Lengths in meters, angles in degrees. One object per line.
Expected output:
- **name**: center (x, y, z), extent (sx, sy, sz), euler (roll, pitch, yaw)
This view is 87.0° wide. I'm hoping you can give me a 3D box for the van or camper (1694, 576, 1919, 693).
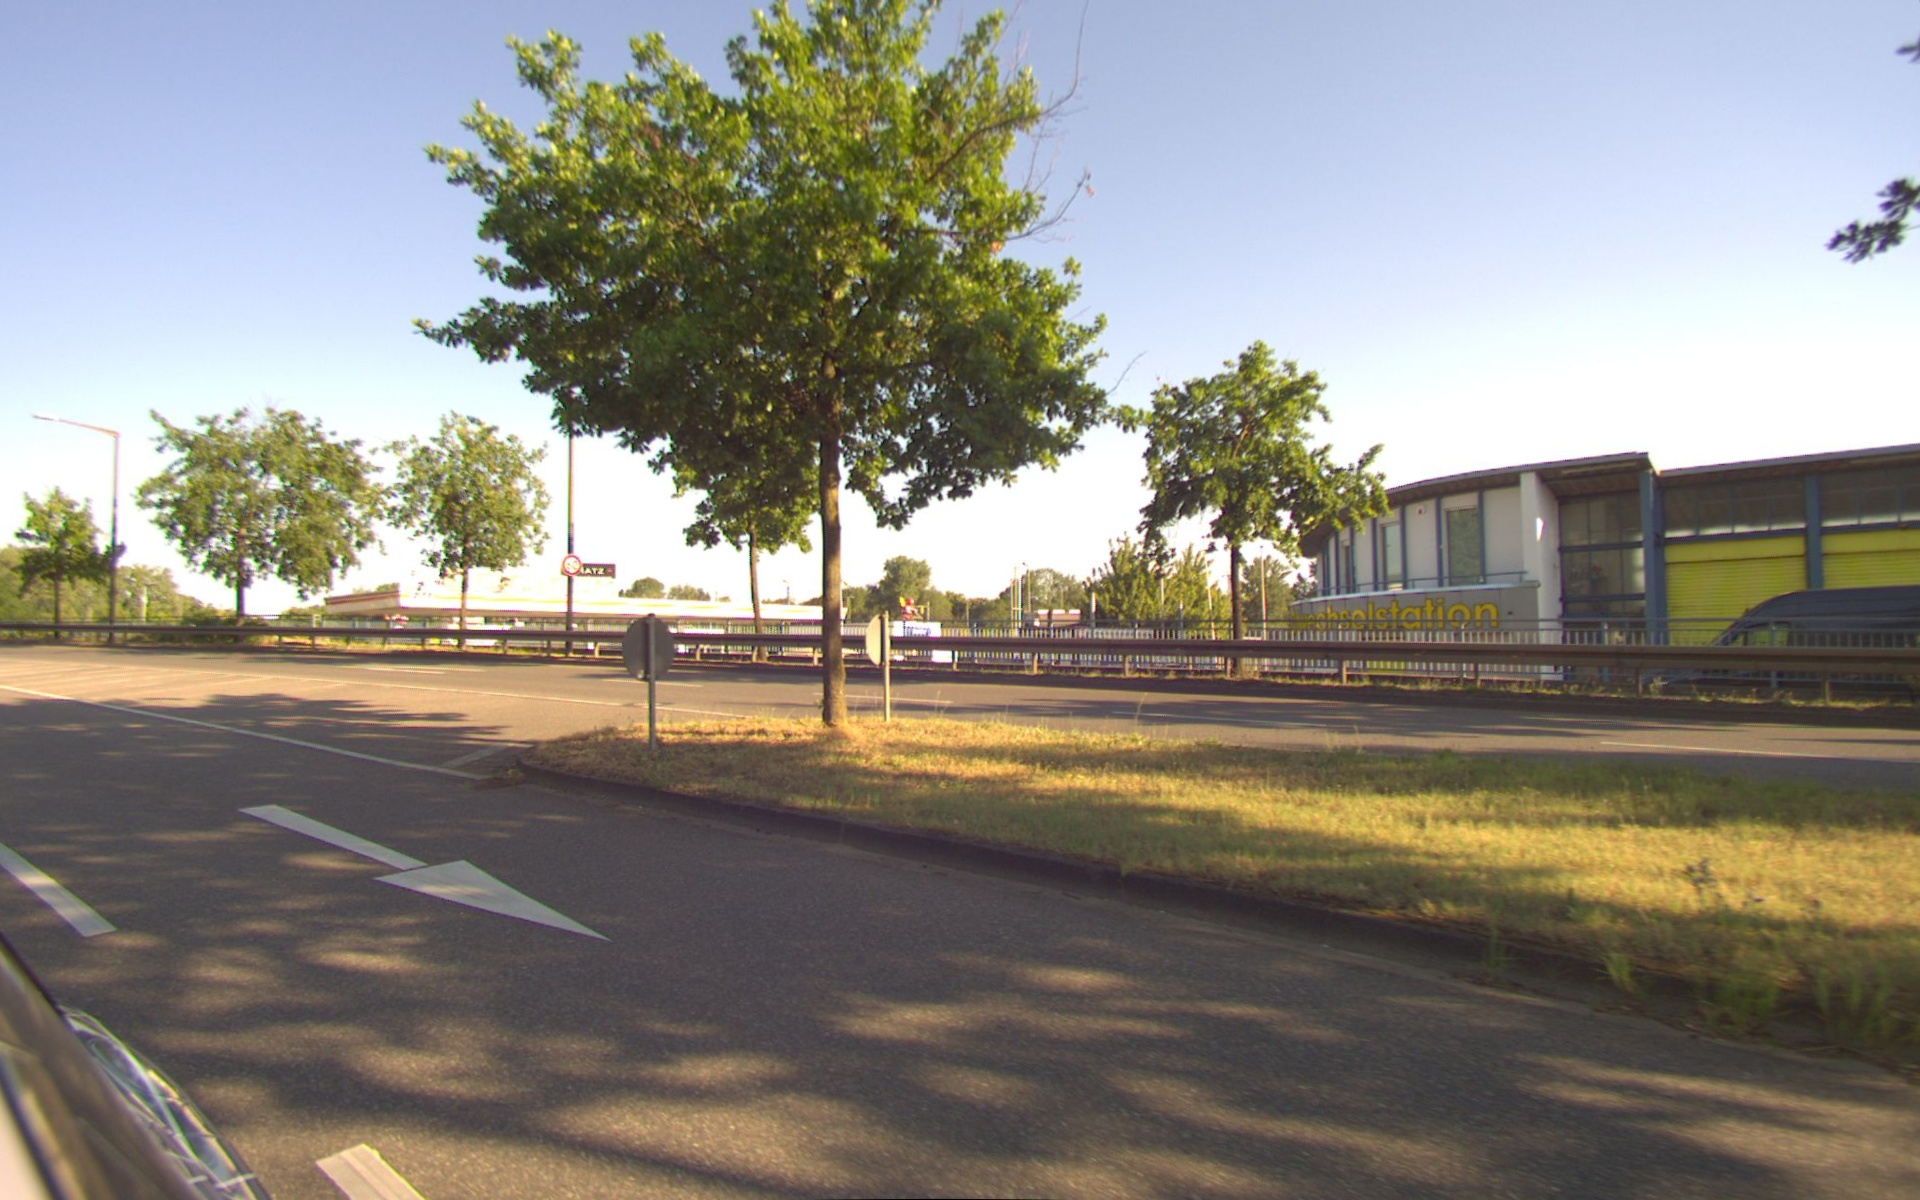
- **van or camper**: center (14.451, 0.519, 15.565), extent (4.958, 1.698, 1.973), euler (-2, -2, 41)
